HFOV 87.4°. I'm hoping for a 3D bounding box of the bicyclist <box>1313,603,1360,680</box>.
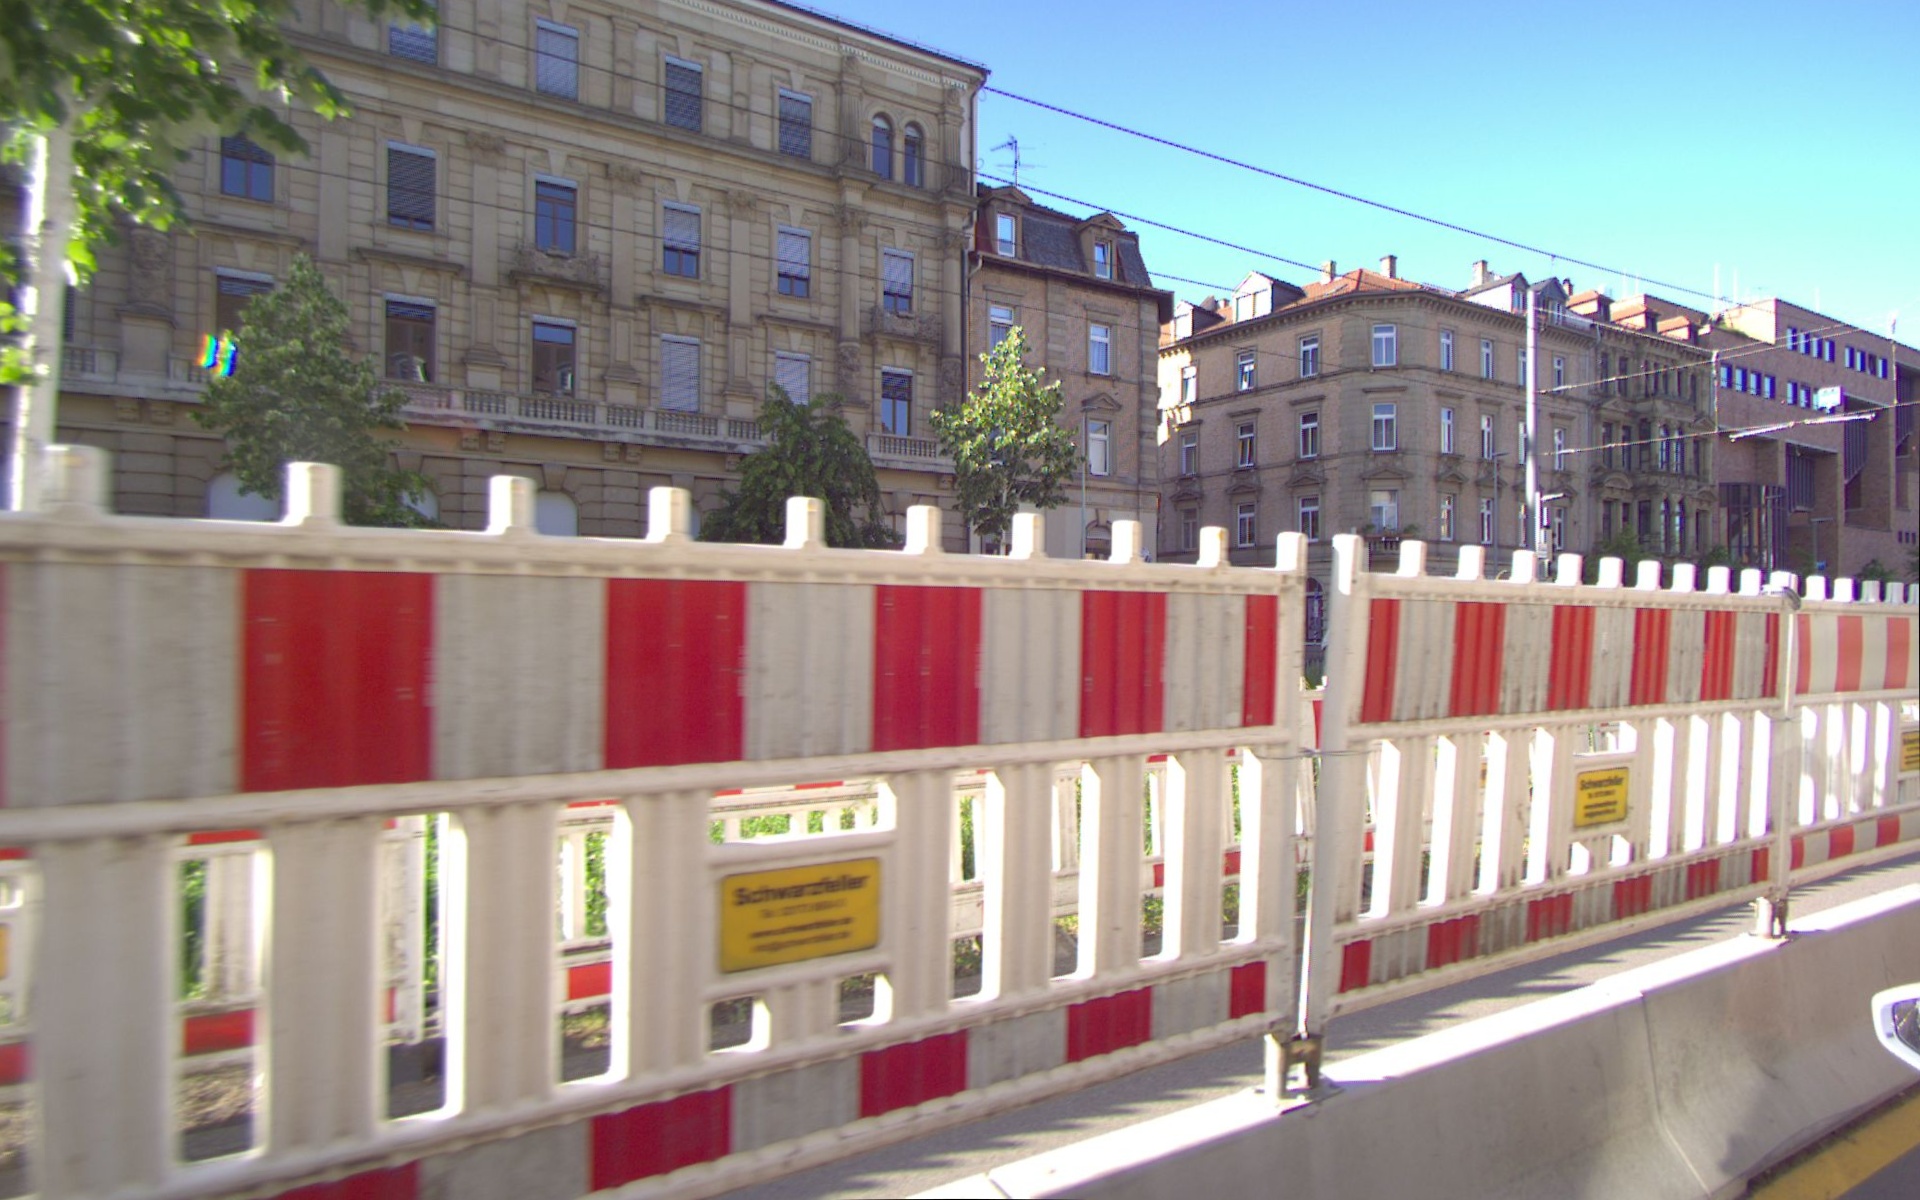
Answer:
[{"bbox_3d":[9.063,0.990,24.151,0.870,1.797,0.853,0,-1,34],"label":"bicyclist"}]
